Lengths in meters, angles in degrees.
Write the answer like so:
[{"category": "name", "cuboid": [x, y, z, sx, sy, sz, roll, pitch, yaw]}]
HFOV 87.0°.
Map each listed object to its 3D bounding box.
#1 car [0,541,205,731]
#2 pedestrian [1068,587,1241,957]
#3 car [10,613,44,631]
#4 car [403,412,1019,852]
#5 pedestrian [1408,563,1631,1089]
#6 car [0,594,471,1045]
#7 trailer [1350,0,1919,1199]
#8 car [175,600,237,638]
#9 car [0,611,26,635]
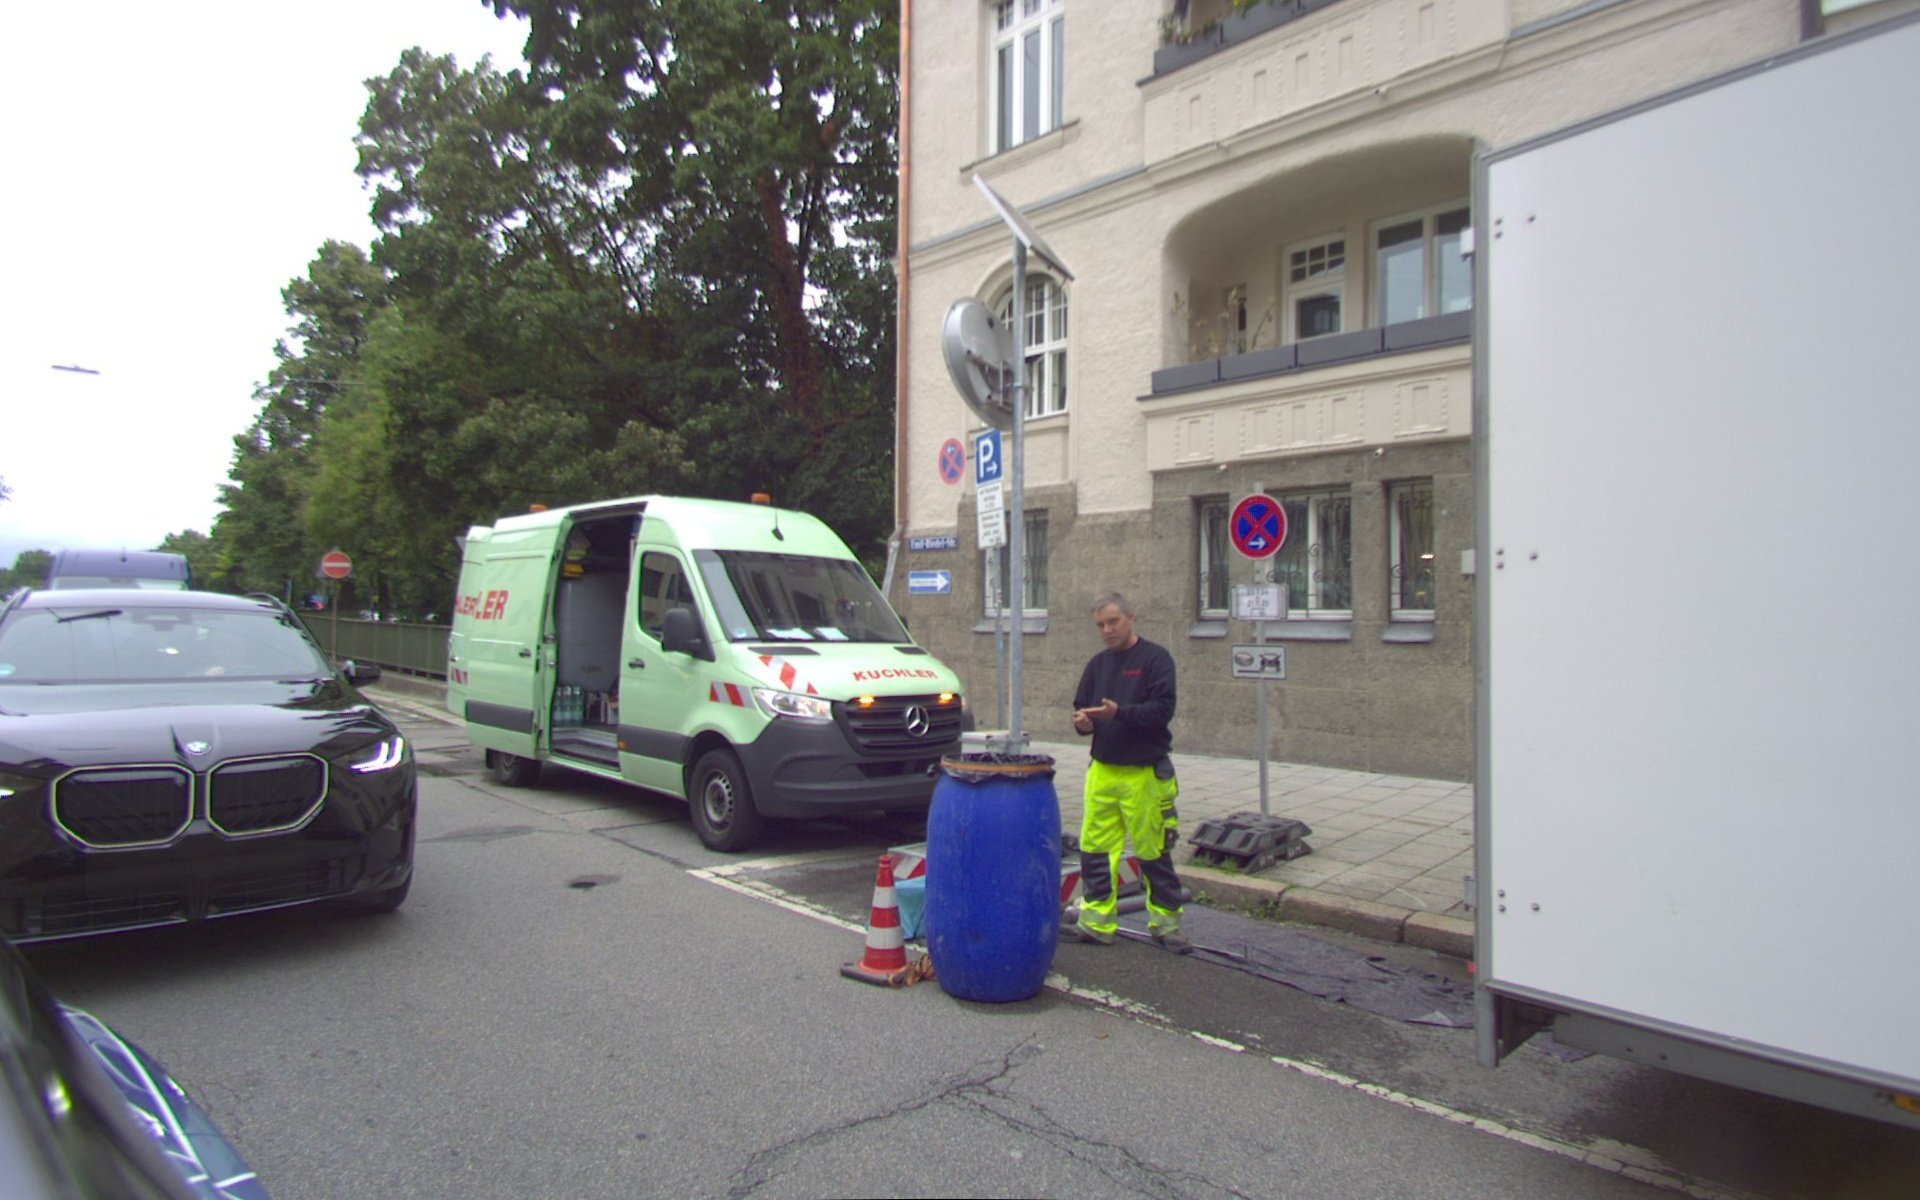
[{"category": "car", "cuboid": [-13.707, 0.485, 16.534, 1.974, 2.510, 6.248, 1, -1, -35]}, {"category": "pedestrian", "cuboid": [0.952, 0.749, 4.852, 0.634, 1.592, 0.757, 0, -2, 26]}, {"category": "car", "cuboid": [-75.172, 1.781, 81.568, 1.810, 1.409, 4.006, 3, -3, -40]}, {"category": "car", "cuboid": [-2.720, 0.246, 9.113, 6.796, 2.592, 2.117, -1, -2, 44]}, {"category": "pedestrian", "cuboid": [1.968, 0.713, 3.655, 0.633, 1.643, 0.757, 0, -2, 24]}, {"category": "car", "cuboid": [-4.418, 0.784, 5.511, 1.894, 1.577, 4.297, 2, -2, -44]}, {"category": "trailer", "cuboid": [4.719, 0.044, 1.059, 2.771, 2.992, 7.604, 6, -6, -44]}, {"category": "car", "cuboid": [-33.379, 0.846, 44.920, 1.789, 1.474, 4.175, 6, -5, -32]}, {"category": "car", "cuboid": [-57.565, 1.374, 60.832, 1.810, 1.409, 4.006, 3, -3, -40]}]
